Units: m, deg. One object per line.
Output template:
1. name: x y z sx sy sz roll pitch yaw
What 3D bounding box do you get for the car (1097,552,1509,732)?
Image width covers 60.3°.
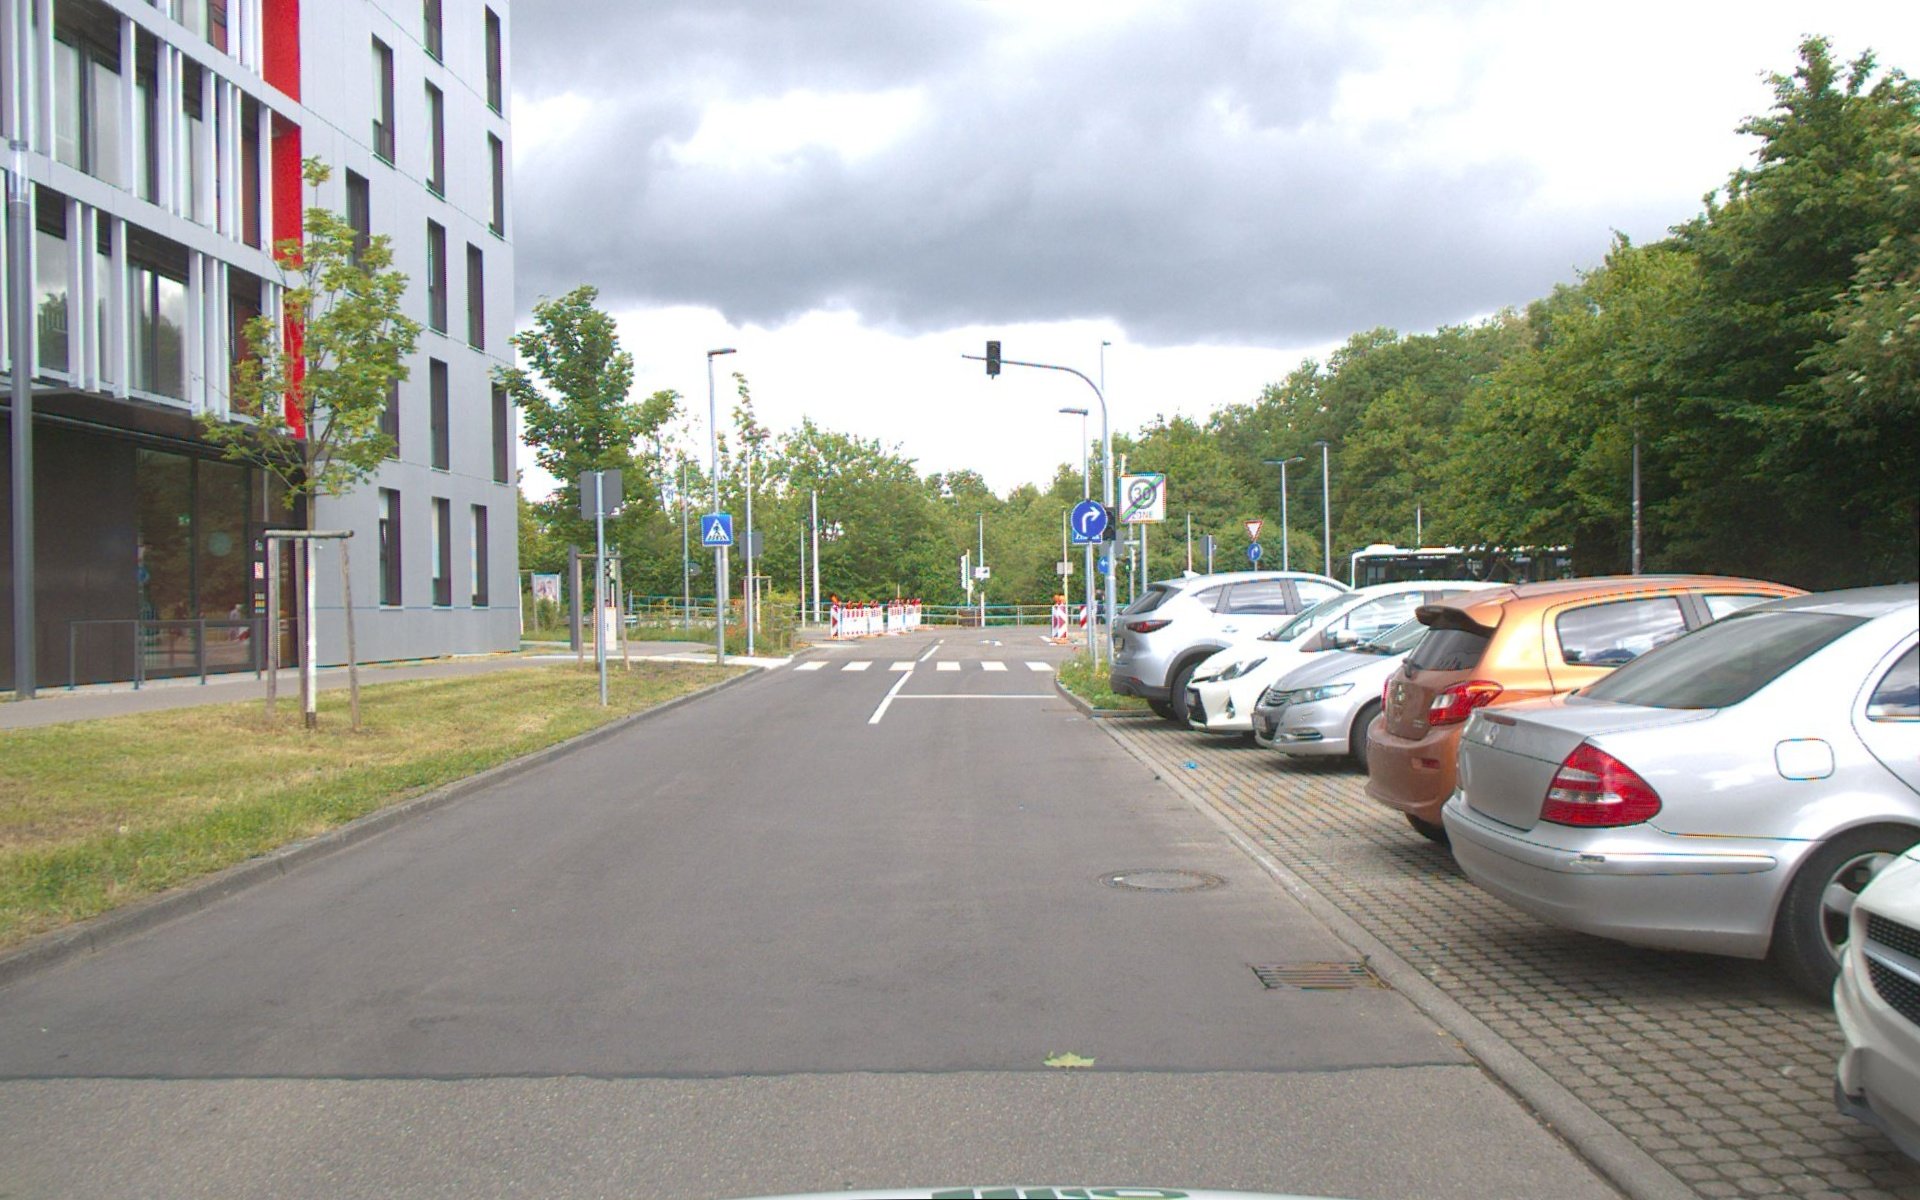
1. car: 3.821 0.452 18.922 4.291 1.937 1.915 0 0 -3

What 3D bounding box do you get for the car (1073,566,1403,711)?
1. car: 3.822 0.512 23.258 4.291 1.937 1.915 0 0 -3

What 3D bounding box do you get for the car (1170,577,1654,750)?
1. car: 4.383 0.588 16.488 4.291 1.610 1.915 0 0 -3

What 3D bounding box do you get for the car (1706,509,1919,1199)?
1. car: 4.294 0.597 3.824 4.291 1.601 1.915 0 -1 -3

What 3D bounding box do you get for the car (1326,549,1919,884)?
1. car: 4.397 0.569 9.176 4.291 1.646 1.915 0 0 -3

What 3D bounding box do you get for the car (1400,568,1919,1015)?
1. car: 4.165 0.639 6.610 4.291 1.501 1.915 0 0 -3

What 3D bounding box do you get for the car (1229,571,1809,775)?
1. car: 4.610 0.573 14.078 4.291 1.610 1.915 0 0 -3
